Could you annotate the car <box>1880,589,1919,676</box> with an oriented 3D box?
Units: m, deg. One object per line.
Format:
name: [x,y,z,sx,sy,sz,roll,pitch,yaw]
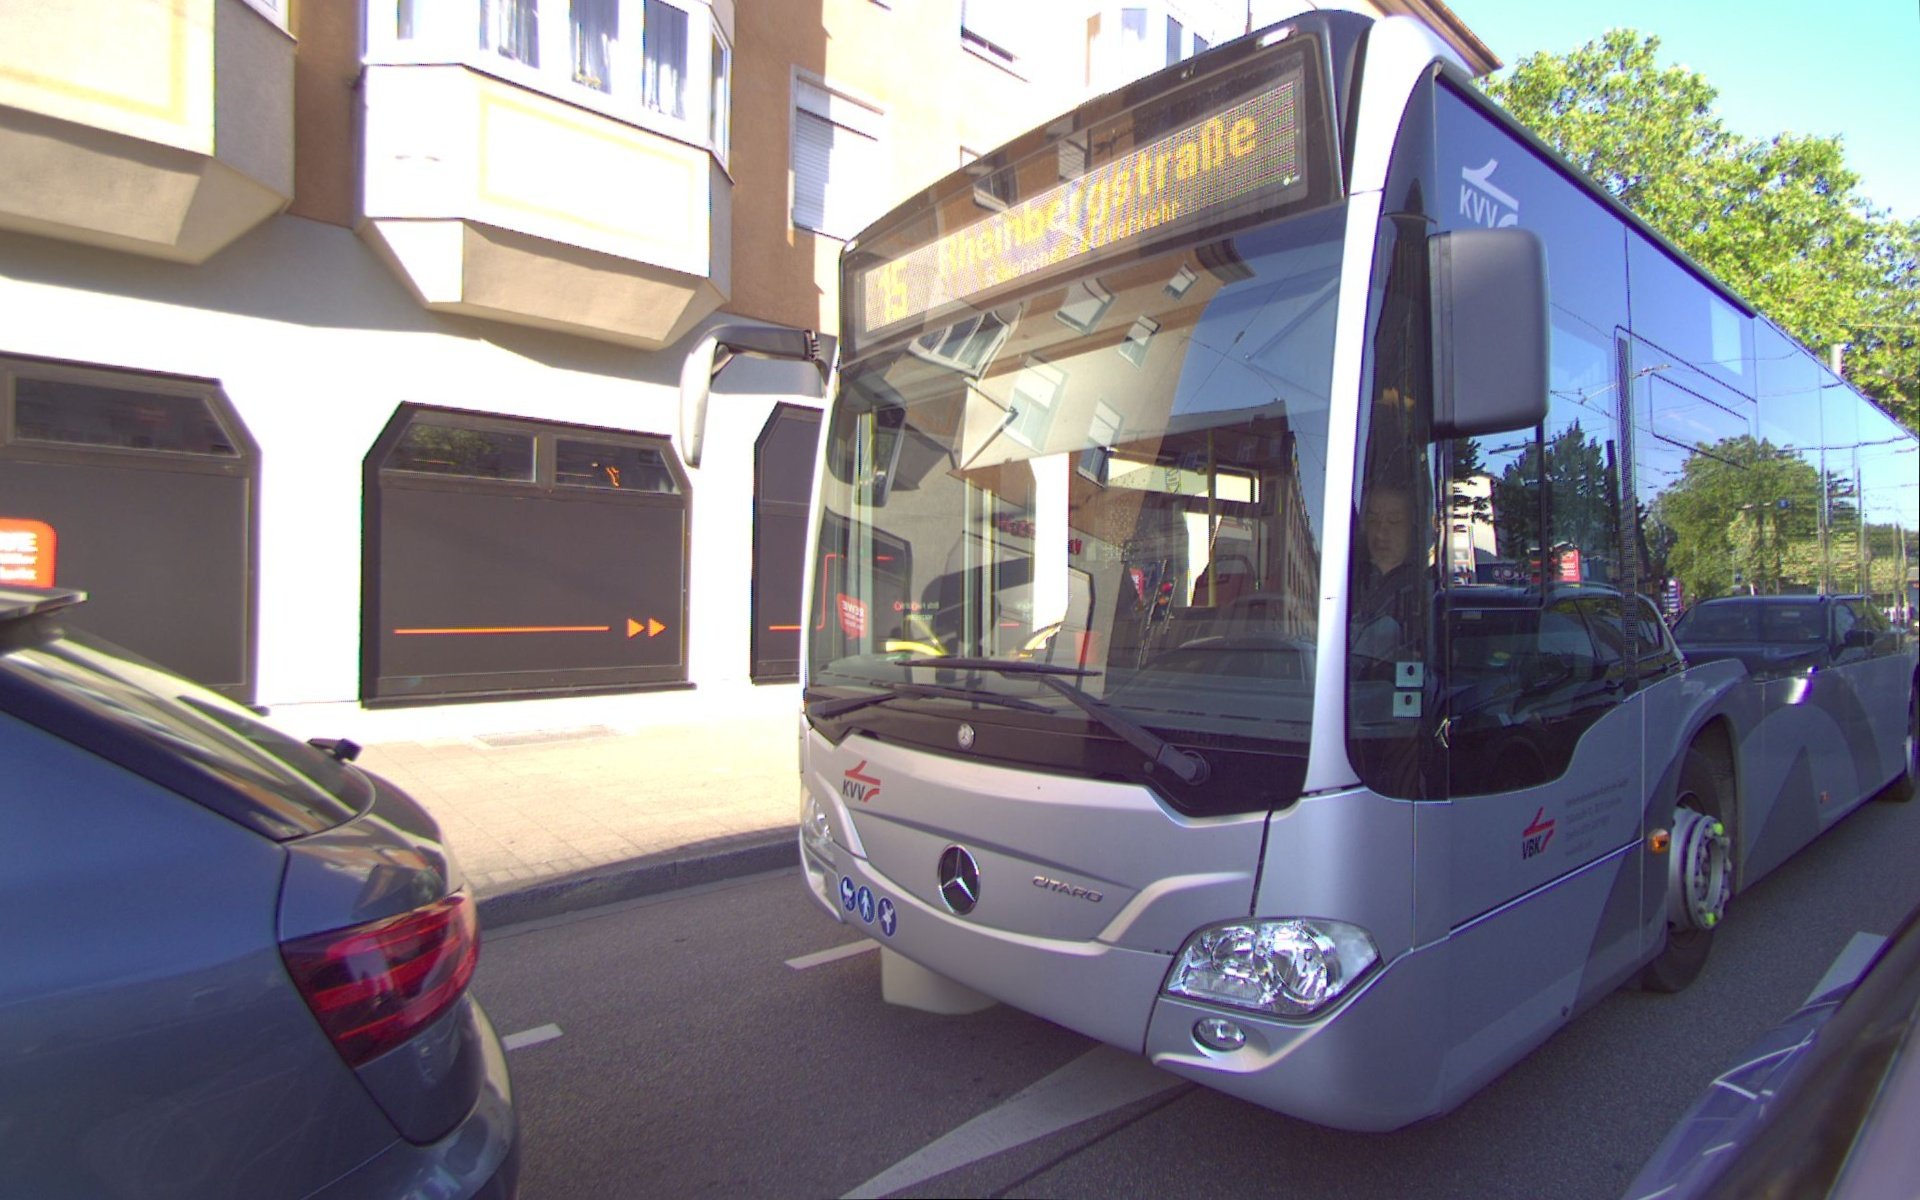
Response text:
car: [19.484,0.593,19.888,3.759,1.628,1.747,-1,0,-43]

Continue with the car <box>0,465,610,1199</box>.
car: [-2.585,0.650,0.638,4.151,1.572,1.700,0,0,-41]

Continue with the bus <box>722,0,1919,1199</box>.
bus: [6.513,-0.156,8.707,17.432,3.189,2.771,0,1,-41]
